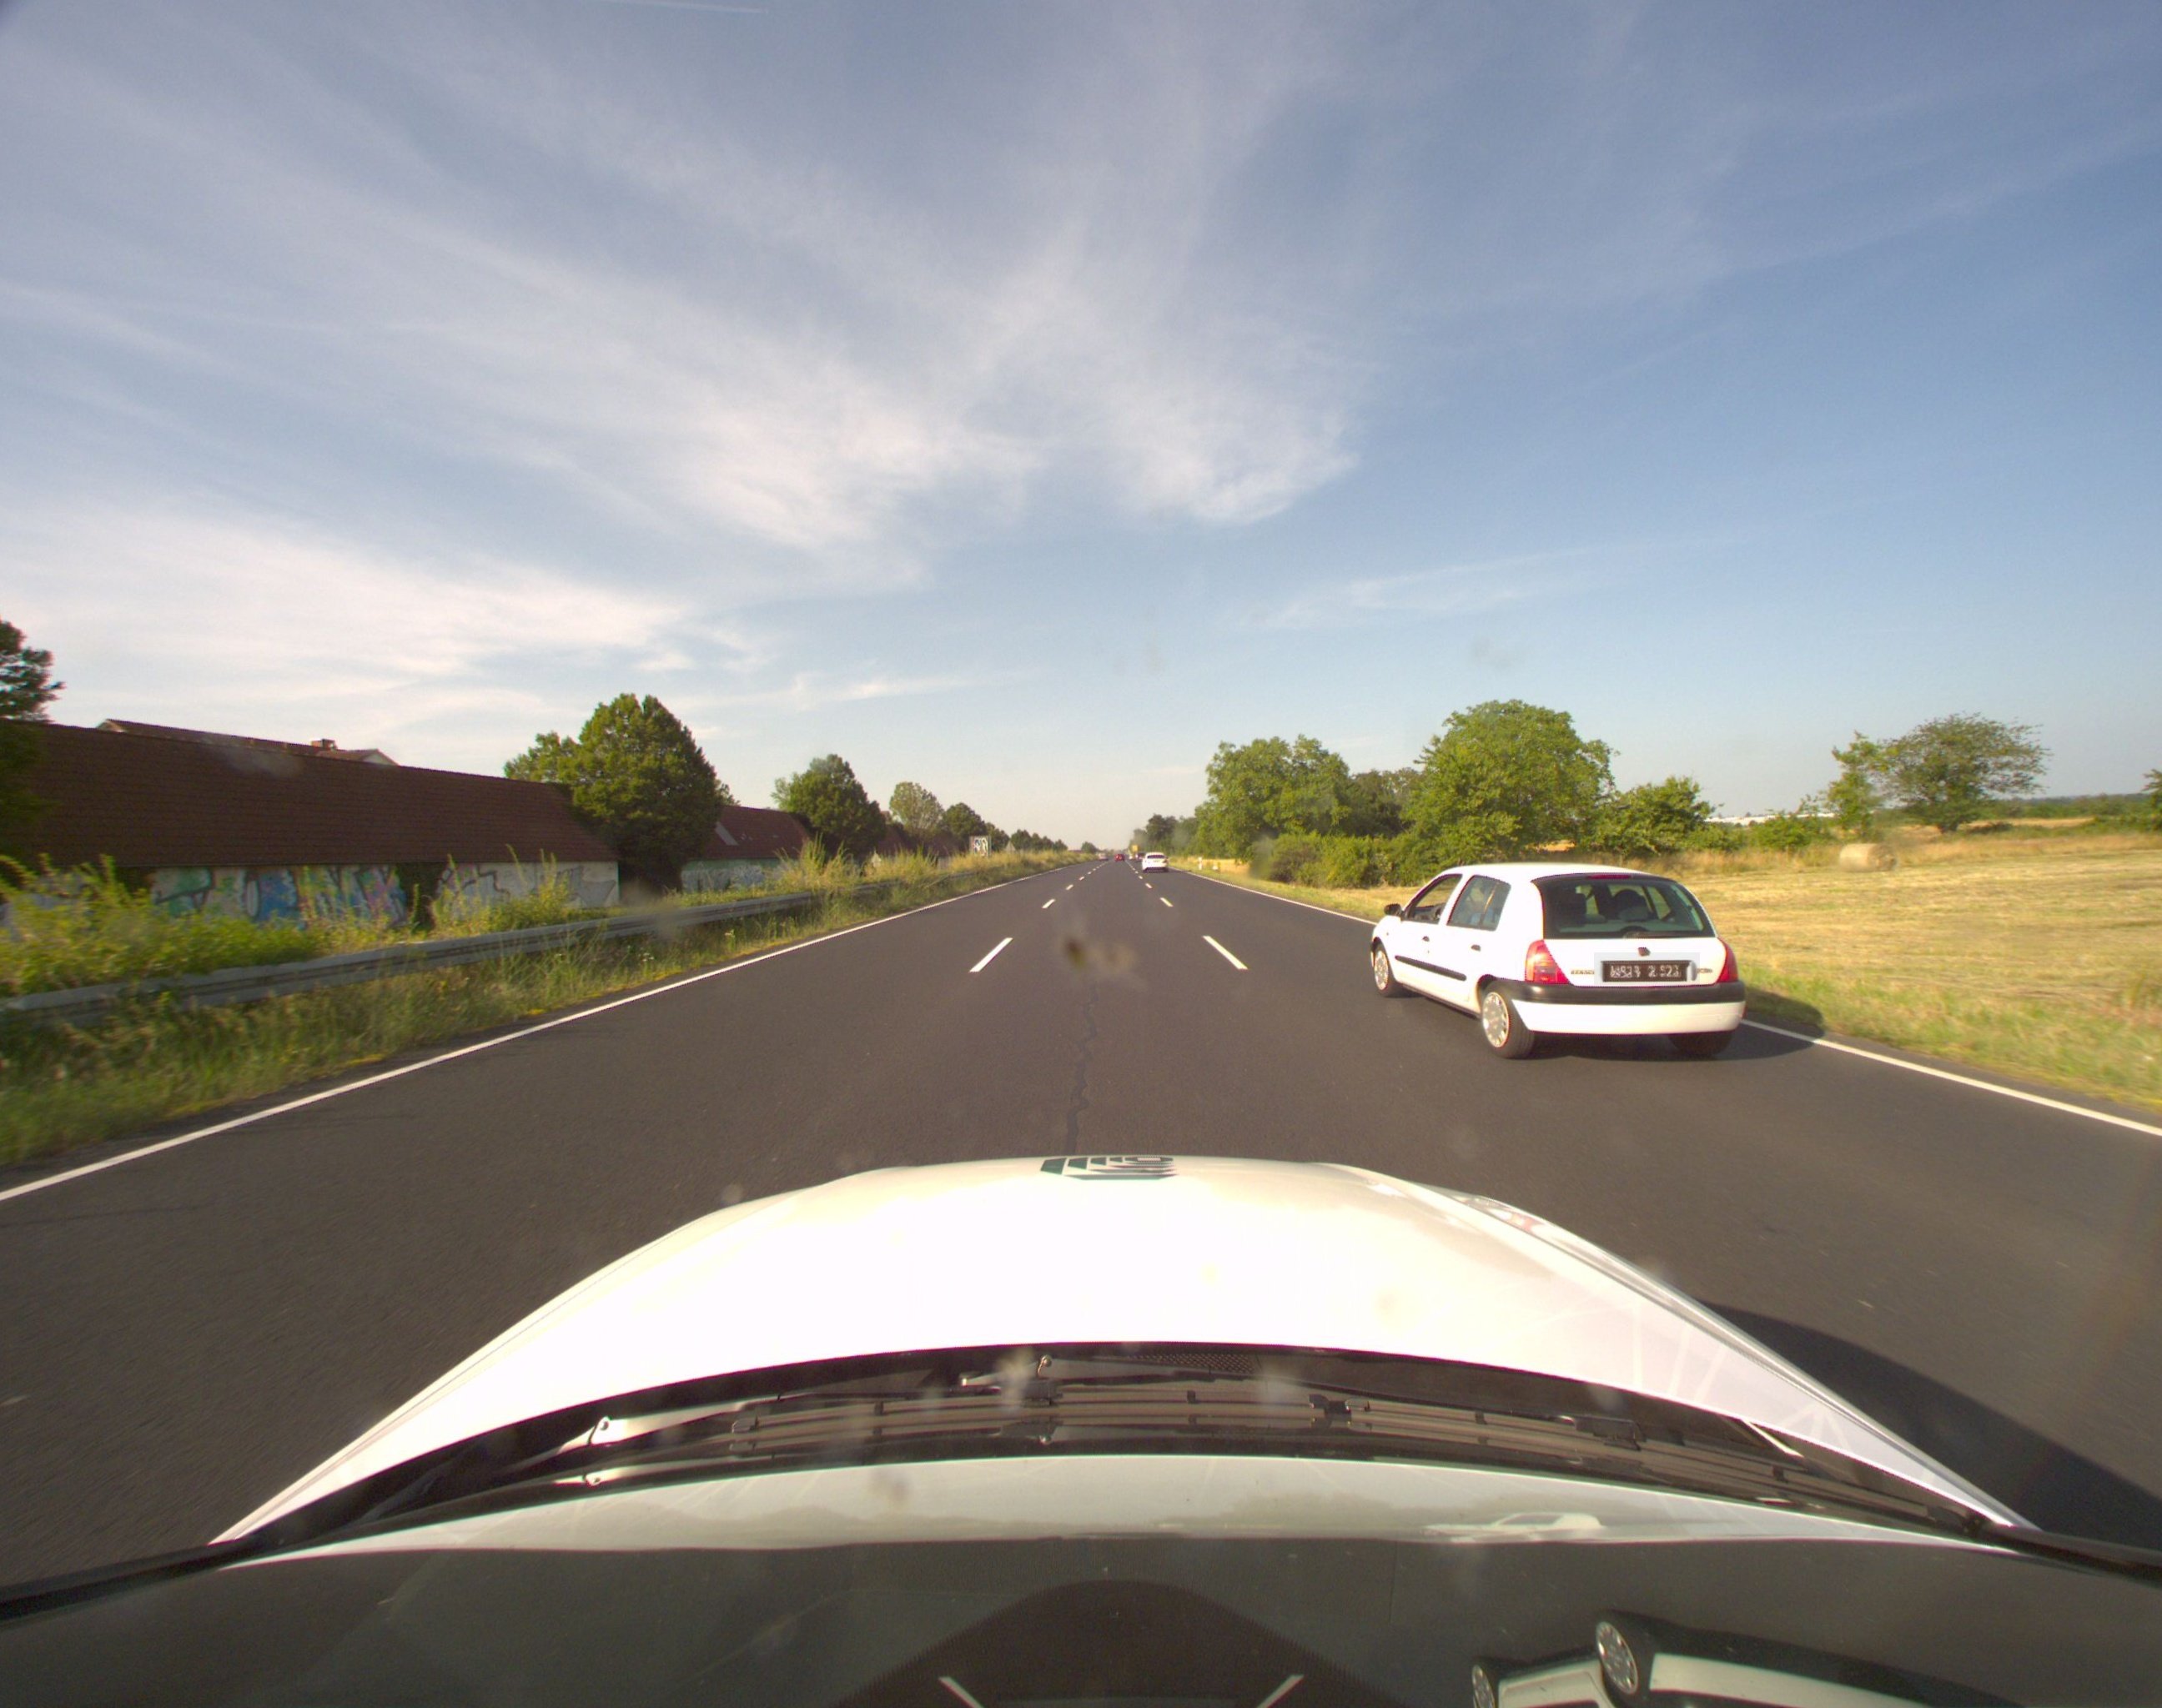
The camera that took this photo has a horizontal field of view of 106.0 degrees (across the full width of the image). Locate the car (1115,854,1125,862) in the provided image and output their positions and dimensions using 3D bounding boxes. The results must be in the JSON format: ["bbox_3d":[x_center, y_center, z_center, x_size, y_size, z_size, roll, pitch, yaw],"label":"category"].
[{"bbox_3d":[7.418,0.839,153.719,1.805,1.436,3.860,-1,-1,2],"label":"car"}]

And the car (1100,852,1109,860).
[{"bbox_3d":[5.283,0.445,182.157,1.750,1.618,4.005,-1,-1,4],"label":"car"}]

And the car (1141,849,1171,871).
[{"bbox_3d":[5.467,0.452,59.858,1.985,1.516,4.002,-1,-1,2],"label":"car"}]

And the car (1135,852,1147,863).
[{"bbox_3d":[9.356,0.588,127.181,1.821,1.728,4.002,-1,-1,2],"label":"car"}]

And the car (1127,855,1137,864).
[{"bbox_3d":[10.319,1.144,164.832,1.826,1.717,3.865,-1,-1,3],"label":"car"}]

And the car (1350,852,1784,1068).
[{"bbox_3d":[3.799,0.716,7.261,1.611,1.387,3.953,-1,-1,2],"label":"car"}]
